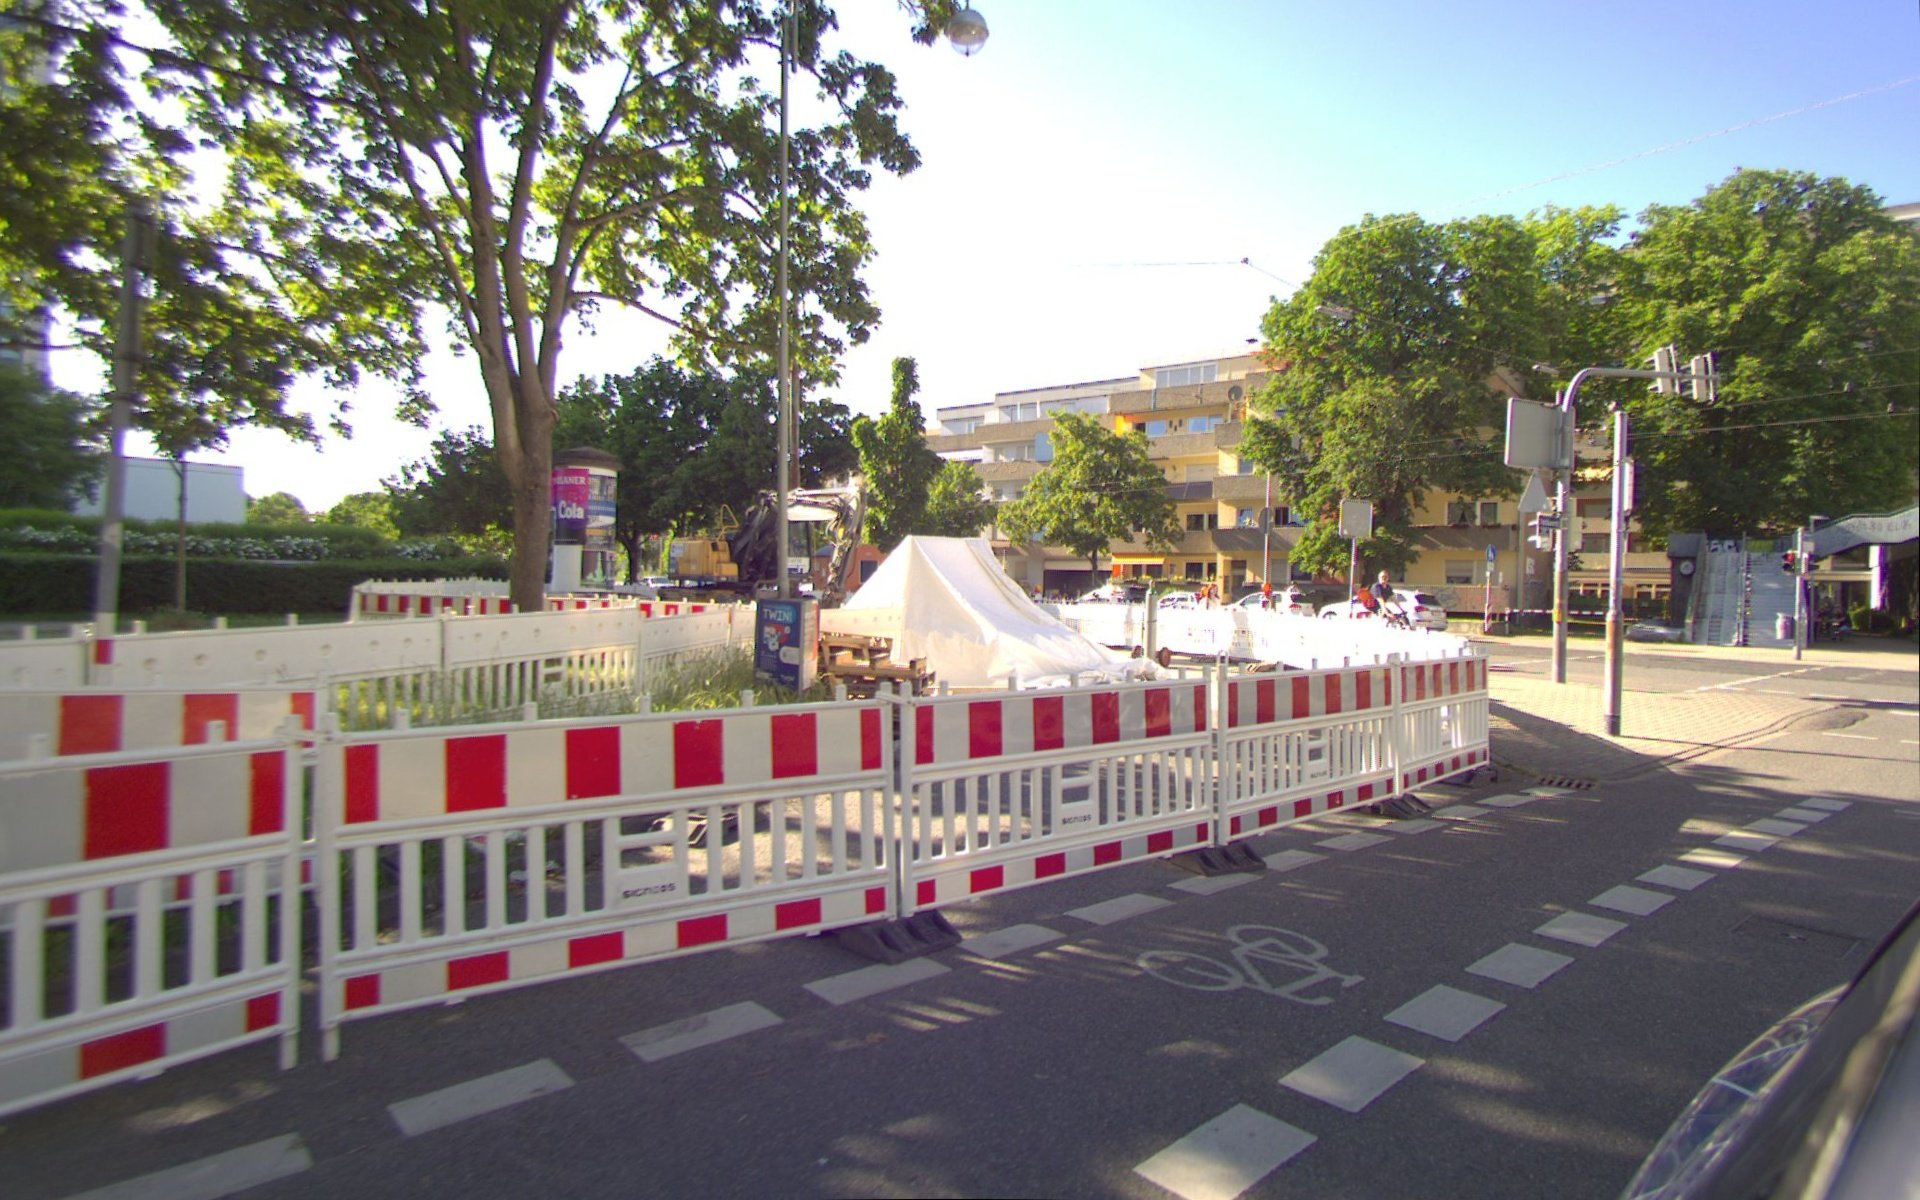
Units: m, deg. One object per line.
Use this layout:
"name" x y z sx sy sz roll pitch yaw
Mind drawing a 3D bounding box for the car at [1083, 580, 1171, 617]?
"car" 7.198 -0.104 43.906 1.752 1.536 3.758 0 1 -31

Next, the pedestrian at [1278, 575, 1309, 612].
"pedestrian" 14.687 -0.289 44.515 0.860 1.572 0.936 1 1 -23

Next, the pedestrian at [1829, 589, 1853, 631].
"pedestrian" 36.854 0.407 42.327 0.653 1.712 0.583 1 1 33

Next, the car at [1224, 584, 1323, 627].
"car" 12.543 0.196 40.657 1.624 1.551 3.509 2 1 -35

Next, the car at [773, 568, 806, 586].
"car" -15.129 -2.048 89.593 1.729 1.574 3.698 0 2 -30

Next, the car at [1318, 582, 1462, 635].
"car" 15.008 0.261 35.576 1.898 1.640 4.327 1 2 -32

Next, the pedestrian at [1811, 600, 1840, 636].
"pedestrian" 33.317 0.685 38.972 0.735 1.315 0.606 2 1 33

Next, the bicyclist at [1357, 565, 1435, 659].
"bicyclist" 8.904 0.224 20.705 0.896 1.853 1.097 1 1 -31

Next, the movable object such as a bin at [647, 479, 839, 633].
"movable object such as a bin" -5.473 -1.021 25.112 2.786 3.406 4.704 0 1 -40

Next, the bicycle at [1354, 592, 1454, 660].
"bicycle" 9.017 0.508 20.628 0.641 1.282 1.786 2 1 -30

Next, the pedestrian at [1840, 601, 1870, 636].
"pedestrian" 34.036 0.694 38.497 0.719 1.315 0.583 2 1 33

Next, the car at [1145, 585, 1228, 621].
"car" 9.926 0.115 44.535 1.634 1.423 3.295 2 1 -34

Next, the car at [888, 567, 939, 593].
"car" -3.061 -1.313 66.043 1.774 1.567 3.540 2 1 -32

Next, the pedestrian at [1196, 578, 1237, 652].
"pedestrian" 5.757 0.331 22.729 0.622 1.621 0.640 1 1 -23
